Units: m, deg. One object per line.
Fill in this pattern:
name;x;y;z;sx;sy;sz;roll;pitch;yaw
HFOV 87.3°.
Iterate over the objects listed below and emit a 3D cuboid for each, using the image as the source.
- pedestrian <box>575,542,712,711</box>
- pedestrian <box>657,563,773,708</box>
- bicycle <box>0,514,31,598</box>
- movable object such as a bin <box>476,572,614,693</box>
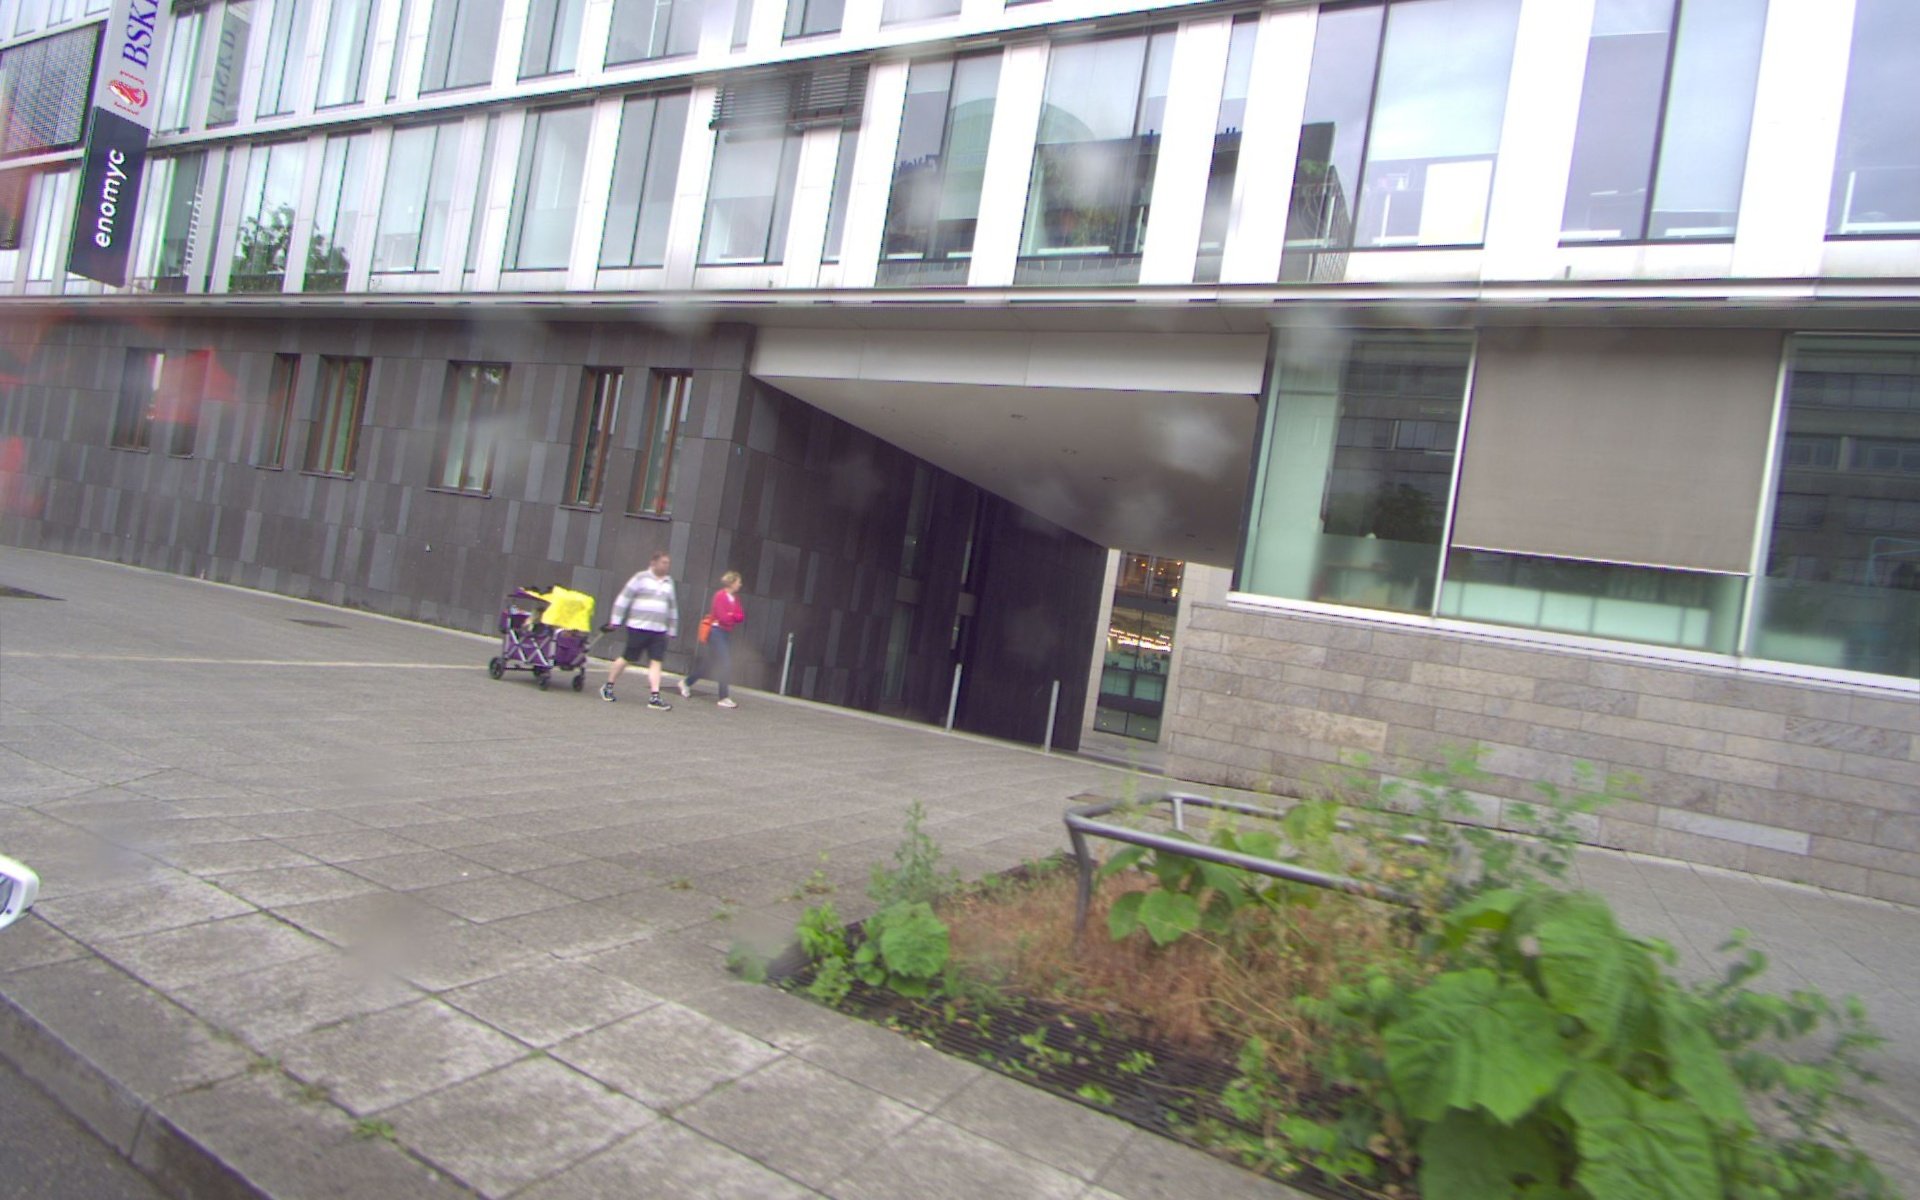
pedestrian;-3.722;0.310;11.866;1.028;1.814;0.901;7;1;26
pedestrian;-3.166;0.455;13.028;1.080;1.712;0.719;7;1;26
bicycle;-13.265;-0.711;12.373;0.665;1.069;2.543;7;-2;27
movable object such as a bin;-5.105;0.388;12.360;1.419;1.280;0.732;8;1;29
